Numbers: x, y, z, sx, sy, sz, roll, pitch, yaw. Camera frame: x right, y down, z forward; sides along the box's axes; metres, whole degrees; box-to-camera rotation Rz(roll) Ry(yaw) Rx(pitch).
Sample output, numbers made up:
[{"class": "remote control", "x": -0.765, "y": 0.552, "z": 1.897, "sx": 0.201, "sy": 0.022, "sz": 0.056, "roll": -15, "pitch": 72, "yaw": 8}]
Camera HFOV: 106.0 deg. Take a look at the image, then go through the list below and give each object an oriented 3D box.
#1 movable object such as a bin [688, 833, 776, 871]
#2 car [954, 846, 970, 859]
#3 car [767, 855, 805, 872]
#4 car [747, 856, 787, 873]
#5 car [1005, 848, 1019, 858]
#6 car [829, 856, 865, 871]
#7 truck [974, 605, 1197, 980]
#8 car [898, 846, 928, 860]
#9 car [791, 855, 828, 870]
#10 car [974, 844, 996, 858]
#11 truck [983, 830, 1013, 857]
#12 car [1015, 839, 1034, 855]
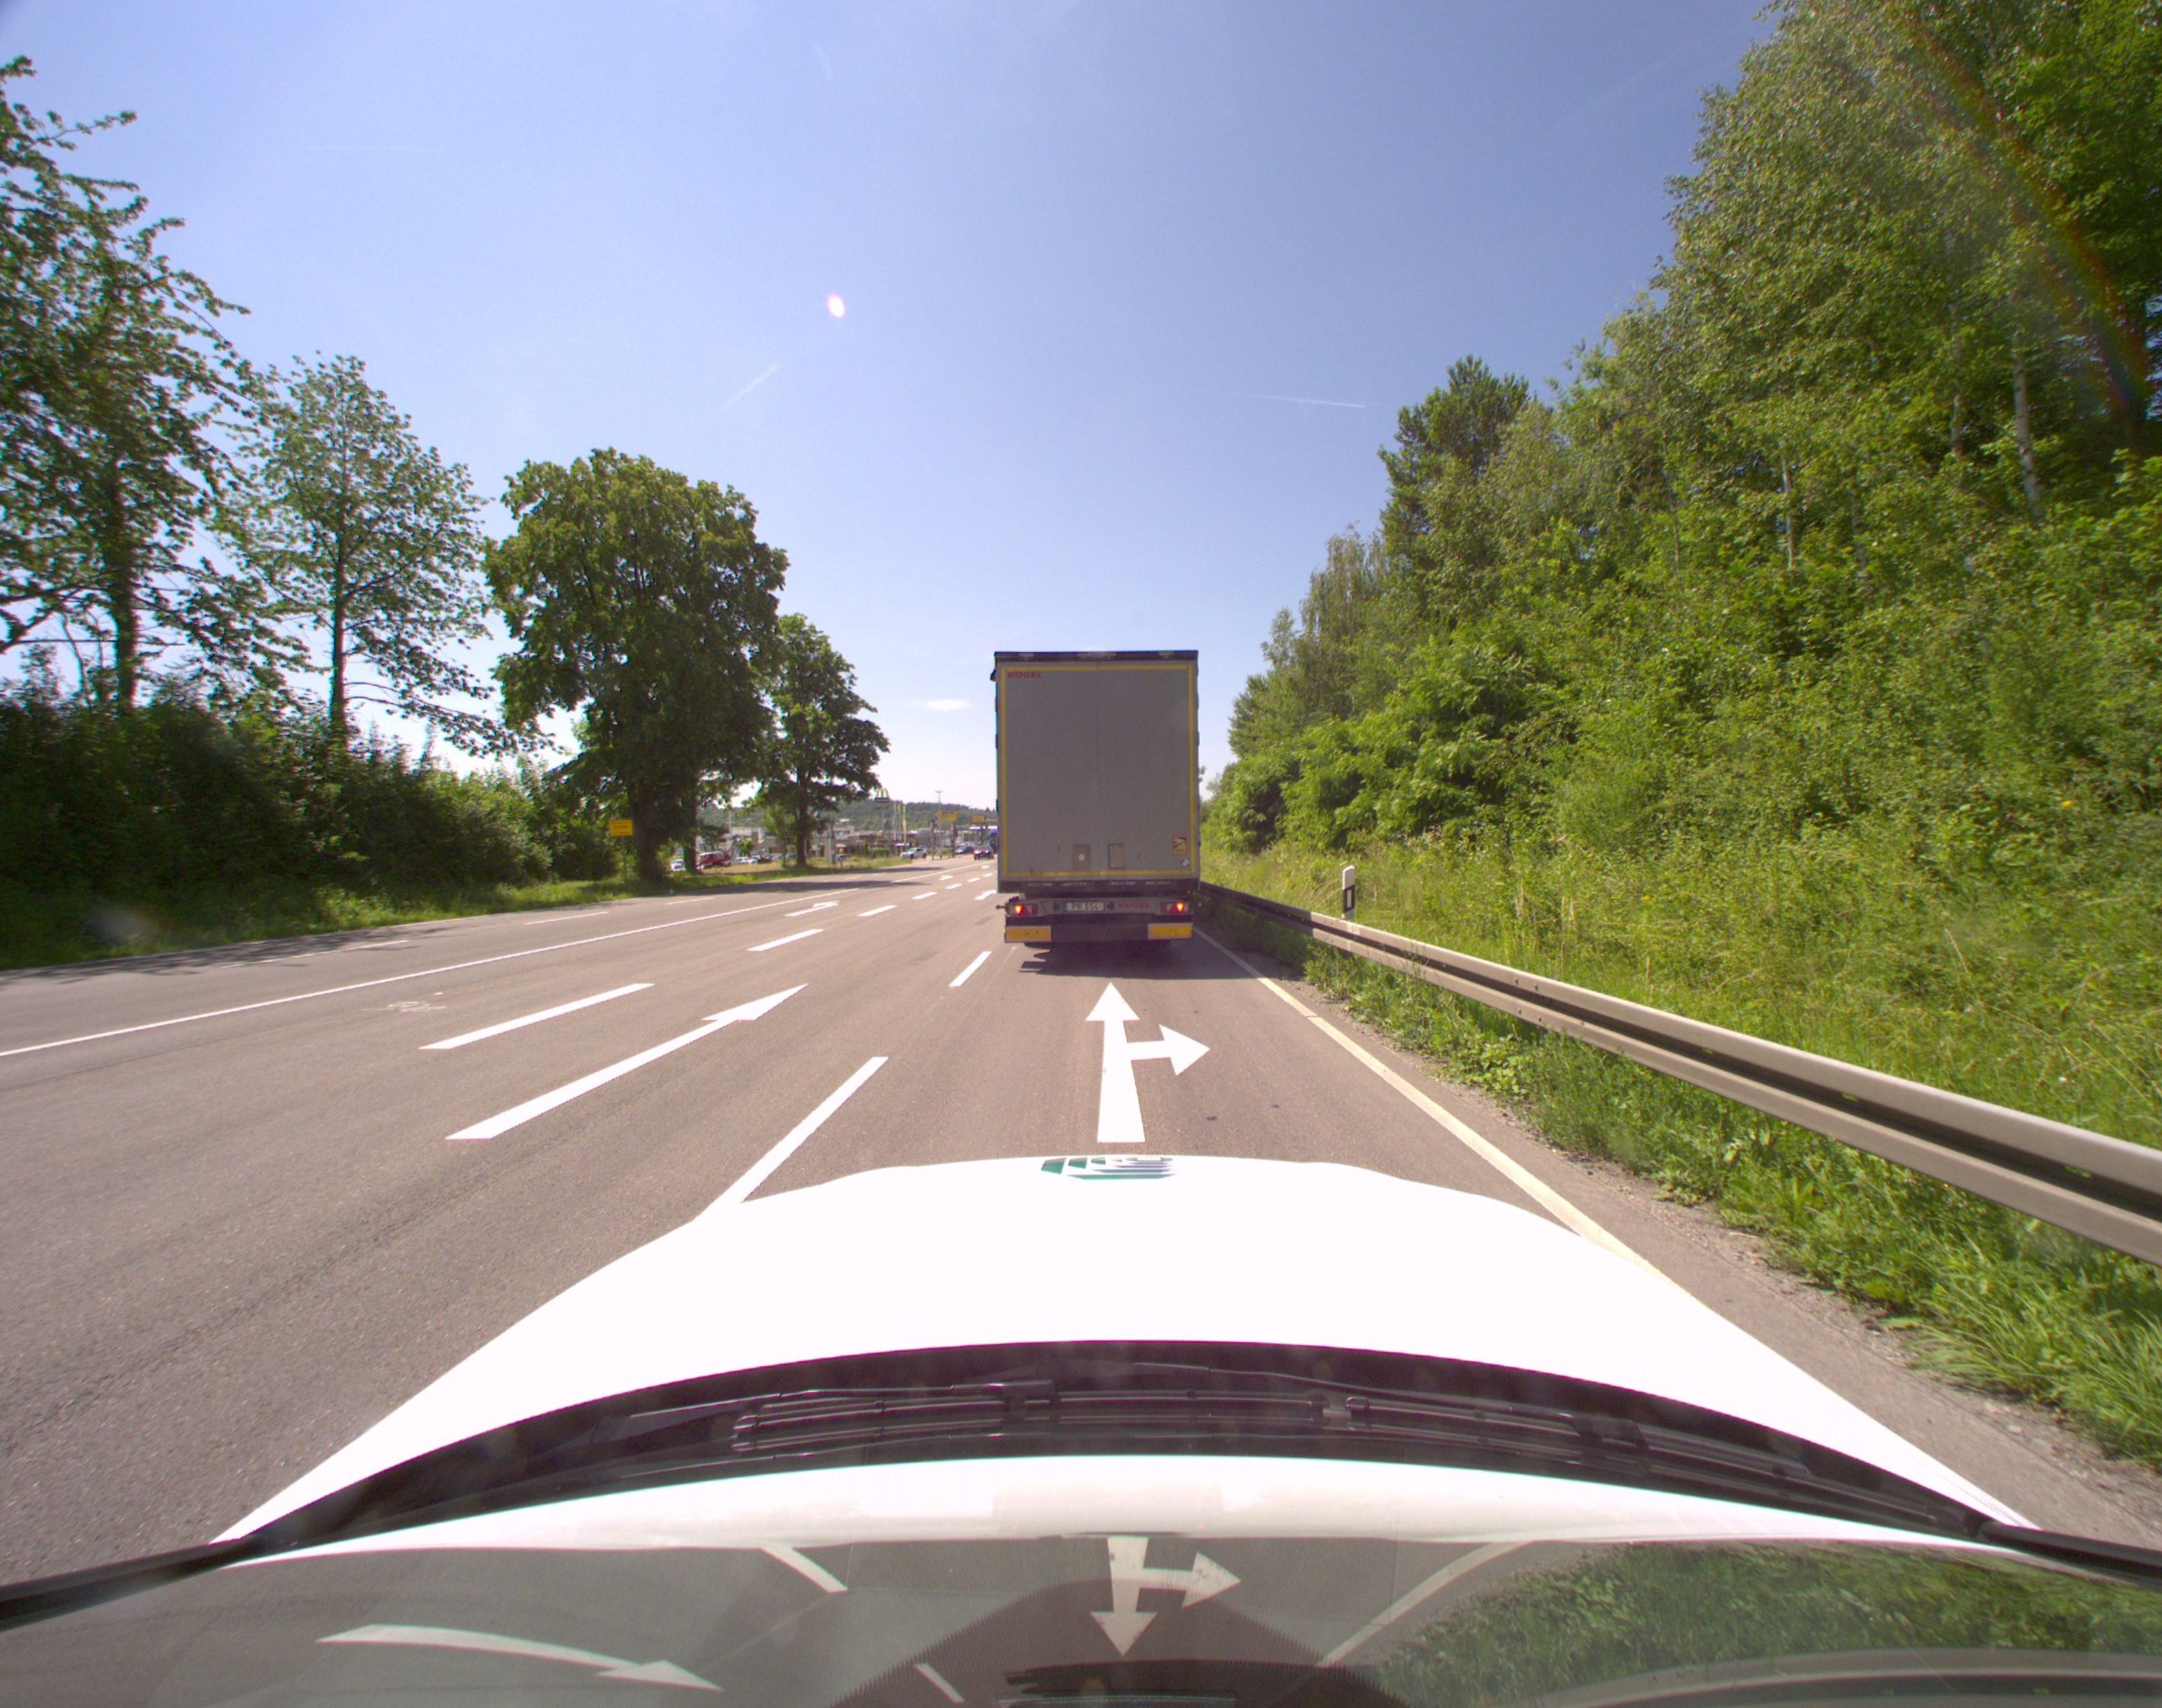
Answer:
[{"class": "movable object such as a bin", "x": -32.412, "y": -0.235, "z": 75.759, "sx": 3.013, "sy": 3.298, "sz": 6.835, "roll": -1, "pitch": 1, "yaw": 41}, {"class": "car", "x": -19.450, "y": -0.317, "z": 133.636, "sx": 1.987, "sy": 2.013, "sz": 4.000, "roll": -1, "pitch": 1, "yaw": 0}, {"class": "car", "x": -30.816, "y": 0.982, "z": 85.008, "sx": 3.948, "sy": 1.618, "sz": 1.852, "roll": -1, "pitch": 1, "yaw": 37}, {"class": "car", "x": -32.121, "y": 1.108, "z": 83.174, "sx": 3.948, "sy": 1.651, "sz": 2.013, "roll": -1, "pitch": 1, "yaw": 38}, {"class": "car", "x": -10.127, "y": -0.110, "z": 120.348, "sx": 1.761, "sy": 1.386, "sz": 3.999, "roll": 0, "pitch": 0, "yaw": 0}, {"class": "car", "x": -25.460, "y": 1.012, "z": 88.563, "sx": 3.948, "sy": 1.618, "sz": 1.852, "roll": -1, "pitch": 1, "yaw": 37}, {"class": "truck", "x": 0.266, "y": -0.736, "z": 18.413, "sx": 2.745, "sy": 4.639, "sz": 16.660, "roll": 0, "pitch": 0, "yaw": 1}, {"class": "car", "x": -24.795, "y": -0.166, "z": 120.113, "sx": 1.974, "sy": 2.013, "sz": 4.026, "roll": -1, "pitch": 1, "yaw": 36}, {"class": "car", "x": -29.055, "y": 0.915, "z": 87.171, "sx": 3.948, "sy": 1.618, "sz": 1.852, "roll": -1, "pitch": 1, "yaw": 37}, {"class": "car", "x": -10.449, "y": -0.343, "z": 88.588, "sx": 1.896, "sy": 1.508, "sz": 3.765, "roll": 0, "pitch": 0, "yaw": 1}, {"class": "truck", "x": -13.529, "y": -1.707, "z": 134.153, "sx": 2.958, "sy": 4.176, "sz": 16.575, "roll": -2, "pitch": 1, "yaw": 0}, {"class": "car", "x": -7.081, "y": -0.907, "z": 102.089, "sx": 1.987, "sy": 2.013, "sz": 4.000, "roll": 0, "pitch": 0, "yaw": 1}]
